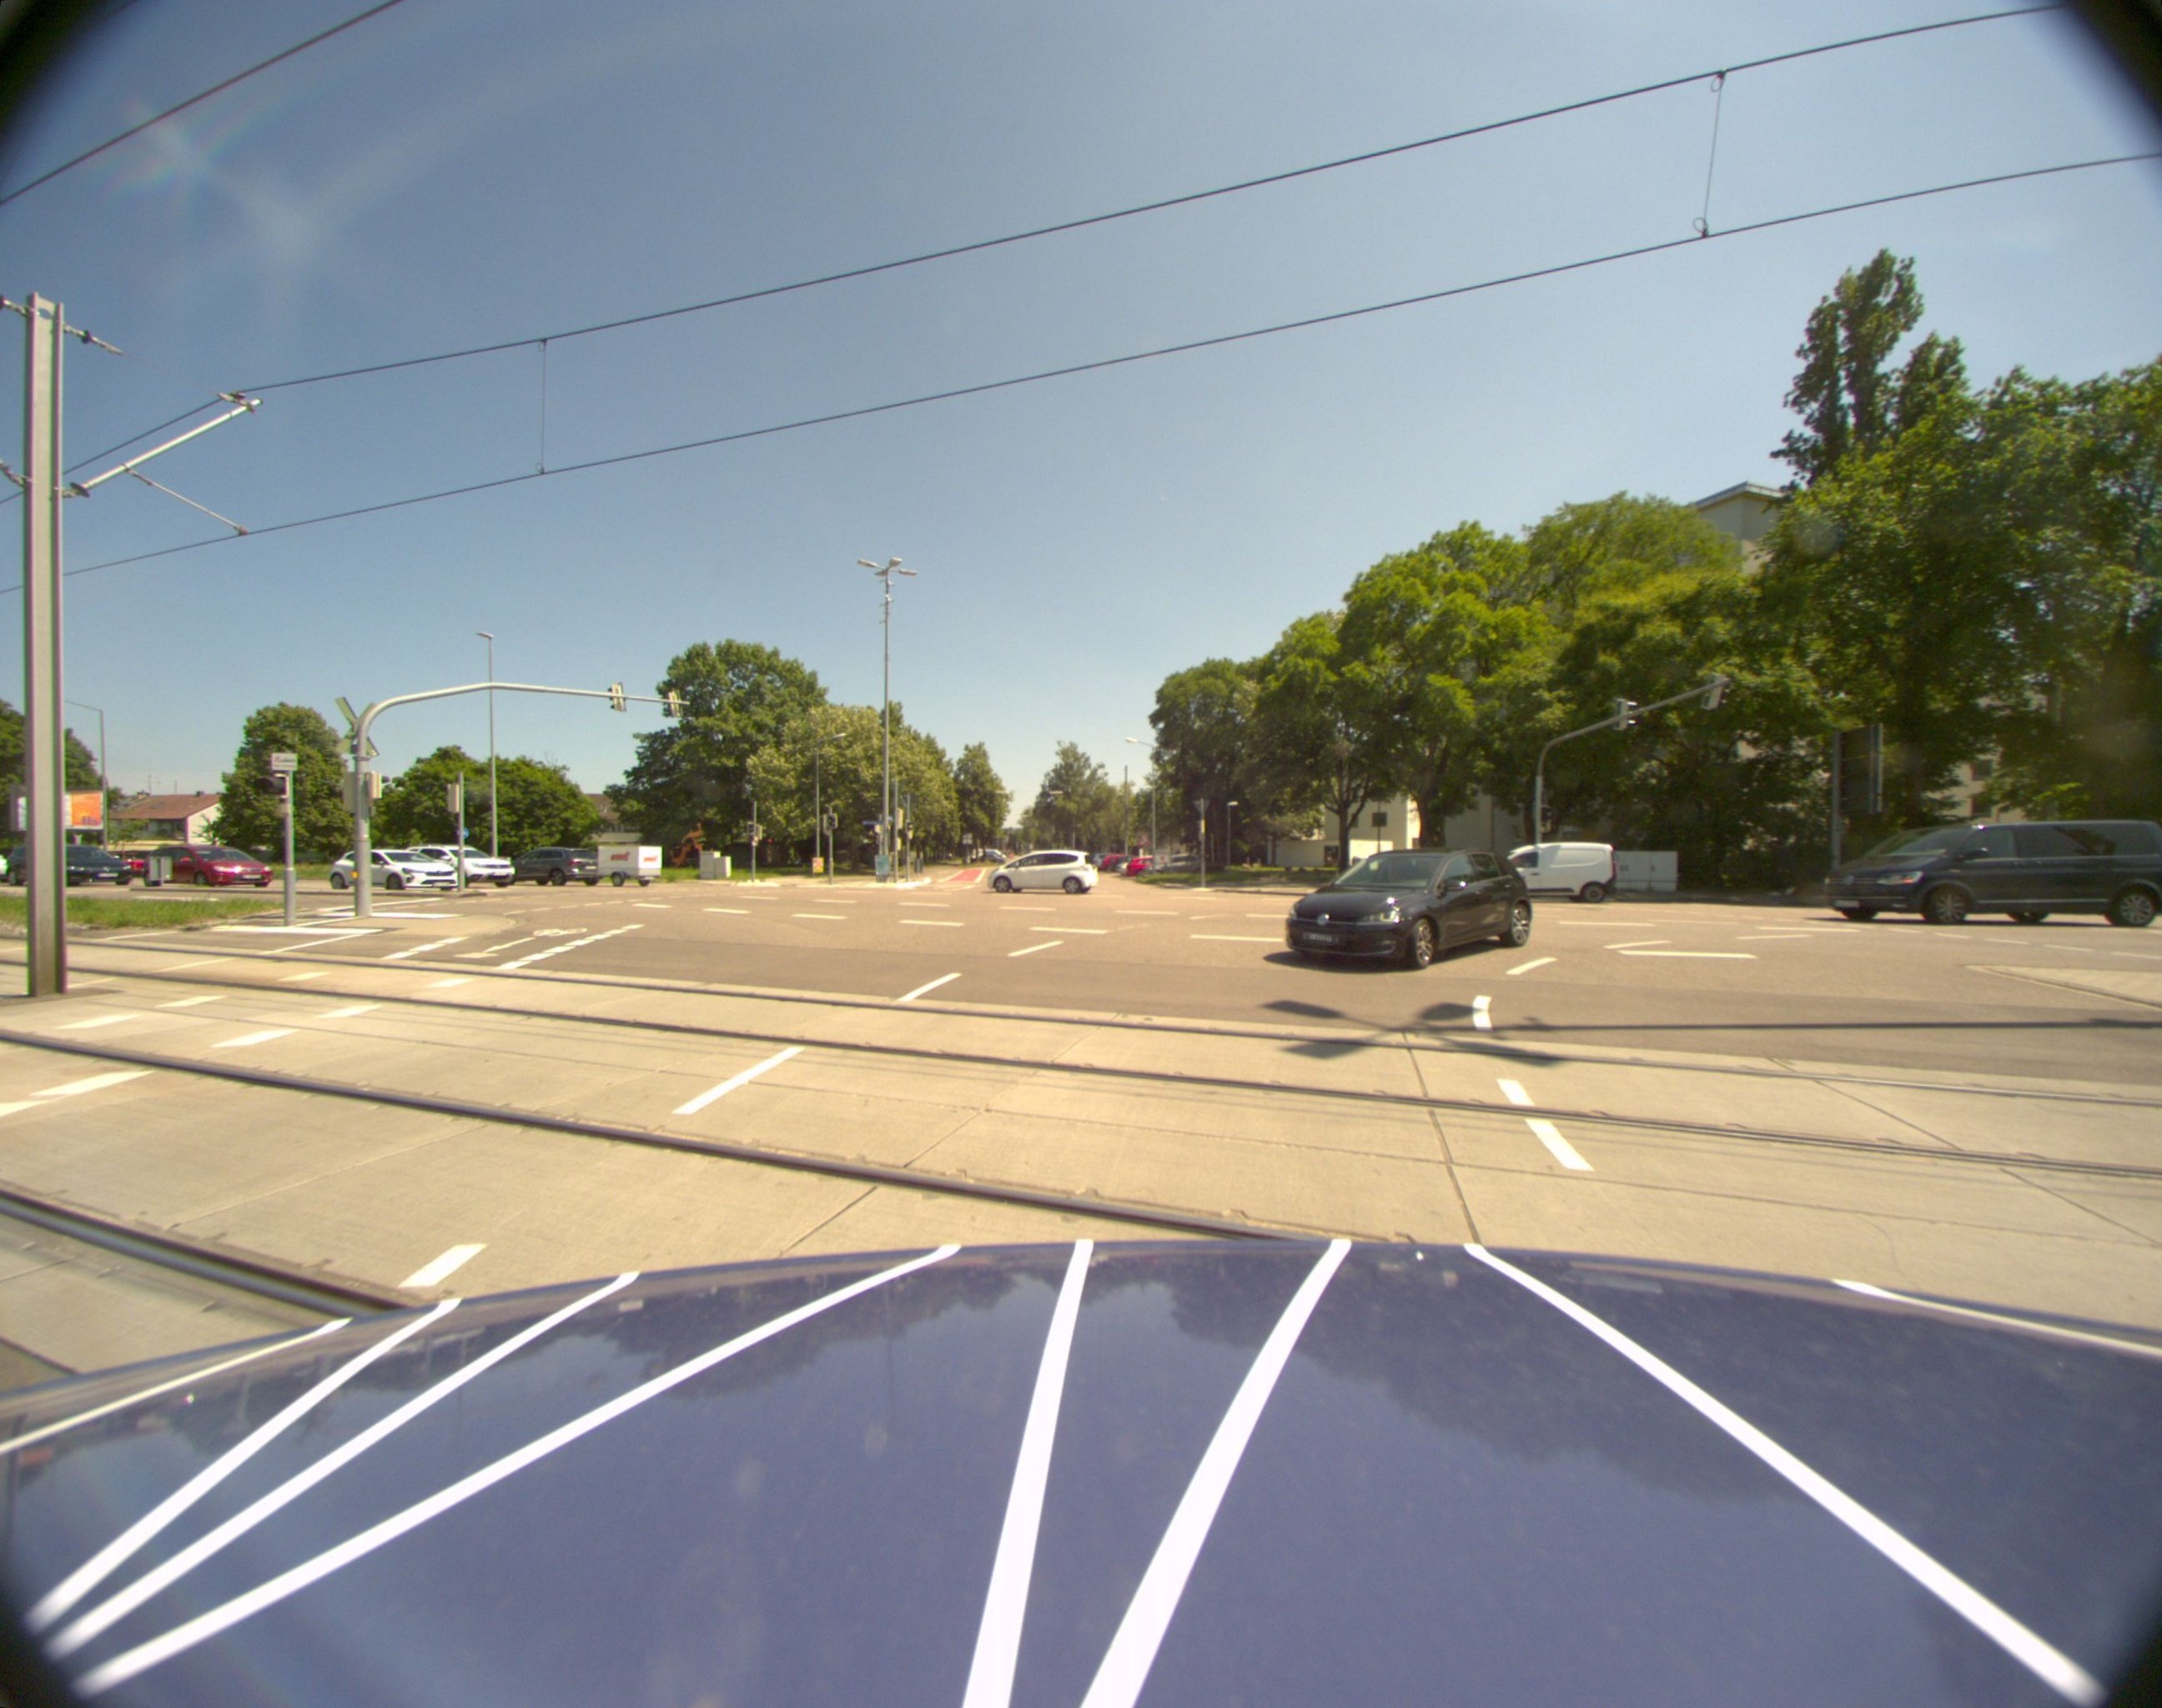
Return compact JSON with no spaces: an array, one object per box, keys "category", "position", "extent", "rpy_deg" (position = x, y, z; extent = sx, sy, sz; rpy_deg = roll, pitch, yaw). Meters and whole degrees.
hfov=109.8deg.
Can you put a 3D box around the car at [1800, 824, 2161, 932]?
[{"category":"car","position":[17.342,0.415,14.612],"extent":[4.839,1.920,1.944],"rpy_deg":[0,1,8]}]

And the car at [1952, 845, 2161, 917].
[{"category":"car","position":[26.402,0.699,19.908],"extent":[4.384,1.782,1.899],"rpy_deg":[0,-2,14]}]

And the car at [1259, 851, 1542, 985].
[{"category":"car","position":[4.467,0.713,10.407],"extent":[4.061,1.396,1.705],"rpy_deg":[-2,2,-36]}]

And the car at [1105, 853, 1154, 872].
[{"category":"car","position":[3.755,0.652,59.180],"extent":[3.492,1.420,1.584],"rpy_deg":[-1,-1,-7]}]

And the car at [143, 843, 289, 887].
[{"category":"car","position":[-32.269,0.396,28.379],"extent":[4.403,1.567,1.878],"rpy_deg":[0,0,16]}]

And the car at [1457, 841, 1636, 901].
[{"category":"car","position":[13.974,0.500,23.088],"extent":[4.333,1.707,1.814],"rpy_deg":[0,0,18]}]

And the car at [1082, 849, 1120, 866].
[{"category":"car","position":[1.964,0.338,75.755],"extent":[3.492,1.570,1.584],"rpy_deg":[-1,-1,-7]}]

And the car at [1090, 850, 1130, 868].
[{"category":"car","position":[2.670,0.481,70.532],"extent":[3.492,1.545,1.584],"rpy_deg":[-1,-1,-7]}]

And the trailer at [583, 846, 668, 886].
[{"category":"trailer","position":[-18.998,0.491,31.713],"extent":[2.932,1.645,1.410],"rpy_deg":[0,0,15]}]

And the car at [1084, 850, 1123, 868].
[{"category":"car","position":[2.113,0.481,72.594],"extent":[3.492,1.545,1.584],"rpy_deg":[-1,-1,-7]}]

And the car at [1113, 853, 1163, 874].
[{"category":"car","position":[4.261,0.710,56.828],"extent":[3.492,1.420,1.584],"rpy_deg":[-1,-1,-7]}]

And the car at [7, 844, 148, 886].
[{"category":"car","position":[-39.504,0.416,29.943],"extent":[4.403,1.567,1.878],"rpy_deg":[0,0,16]}]

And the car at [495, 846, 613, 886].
[{"category":"car","position":[-22.577,0.492,32.582],"extent":[4.399,1.648,1.734],"rpy_deg":[0,0,15]}]

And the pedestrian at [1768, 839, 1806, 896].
[{"category":"pedestrian","position":[23.191,0.430,24.965],"extent":[0.677,1.825,0.608],"rpy_deg":[0,2,14]}]

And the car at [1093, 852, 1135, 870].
[{"category":"car","position":[2.929,0.624,68.138],"extent":[3.492,1.545,1.584],"rpy_deg":[-1,-1,-7]}]

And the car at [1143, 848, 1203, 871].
[{"category":"car","position":[5.850,0.367,48.629],"extent":[3.492,1.420,1.583],"rpy_deg":[-1,-1,-10]}]

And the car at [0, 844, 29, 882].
[{"category":"car","position":[-46.297,0.356,31.509],"extent":[4.403,1.567,1.733],"rpy_deg":[0,0,16]}]

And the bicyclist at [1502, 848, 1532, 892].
[{"category":"bicyclist","position":[15.074,0.540,26.257],"extent":[0.617,1.460,0.627],"rpy_deg":[-2,4,-30]}]

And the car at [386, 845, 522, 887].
[{"category":"car","position":[-24.250,0.446,29.407],"extent":[4.403,1.567,1.878],"rpy_deg":[0,0,16]}]

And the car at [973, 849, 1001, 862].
[{"category":"car","position":[-13.065,0.239,105.794],"extent":[3.773,1.718,1.761],"rpy_deg":[-1,-1,-7]}]

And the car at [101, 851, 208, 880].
[{"category":"car","position":[-45.540,0.552,37.357],"extent":[4.303,1.340,1.769],"rpy_deg":[1,-1,16]}]

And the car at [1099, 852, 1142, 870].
[{"category":"car","position":[3.367,0.605,65.399],"extent":[3.492,1.420,1.584],"rpy_deg":[-1,-1,-7]}]

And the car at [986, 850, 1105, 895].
[{"category":"car","position":[-1.229,0.640,26.937],"extent":[3.891,1.496,1.734],"rpy_deg":[0,0,13]}]

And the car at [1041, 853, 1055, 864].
[{"category":"car","position":[-4.055,0.539,93.871],"extent":[1.584,1.219,3.491],"rpy_deg":[-1,-1,-5]}]

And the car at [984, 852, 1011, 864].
[{"category":"car","position":[-11.133,0.550,100.958],"extent":[3.492,1.467,1.584],"rpy_deg":[-1,-1,-7]}]

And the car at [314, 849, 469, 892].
[{"category":"car","position":[-23.540,0.551,25.965],"extent":[4.403,1.381,1.878],"rpy_deg":[0,0,16]}]

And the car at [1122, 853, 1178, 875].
[{"category":"car","position":[4.710,0.666,51.953],"extent":[3.492,1.420,1.584],"rpy_deg":[-1,-1,-7]}]
